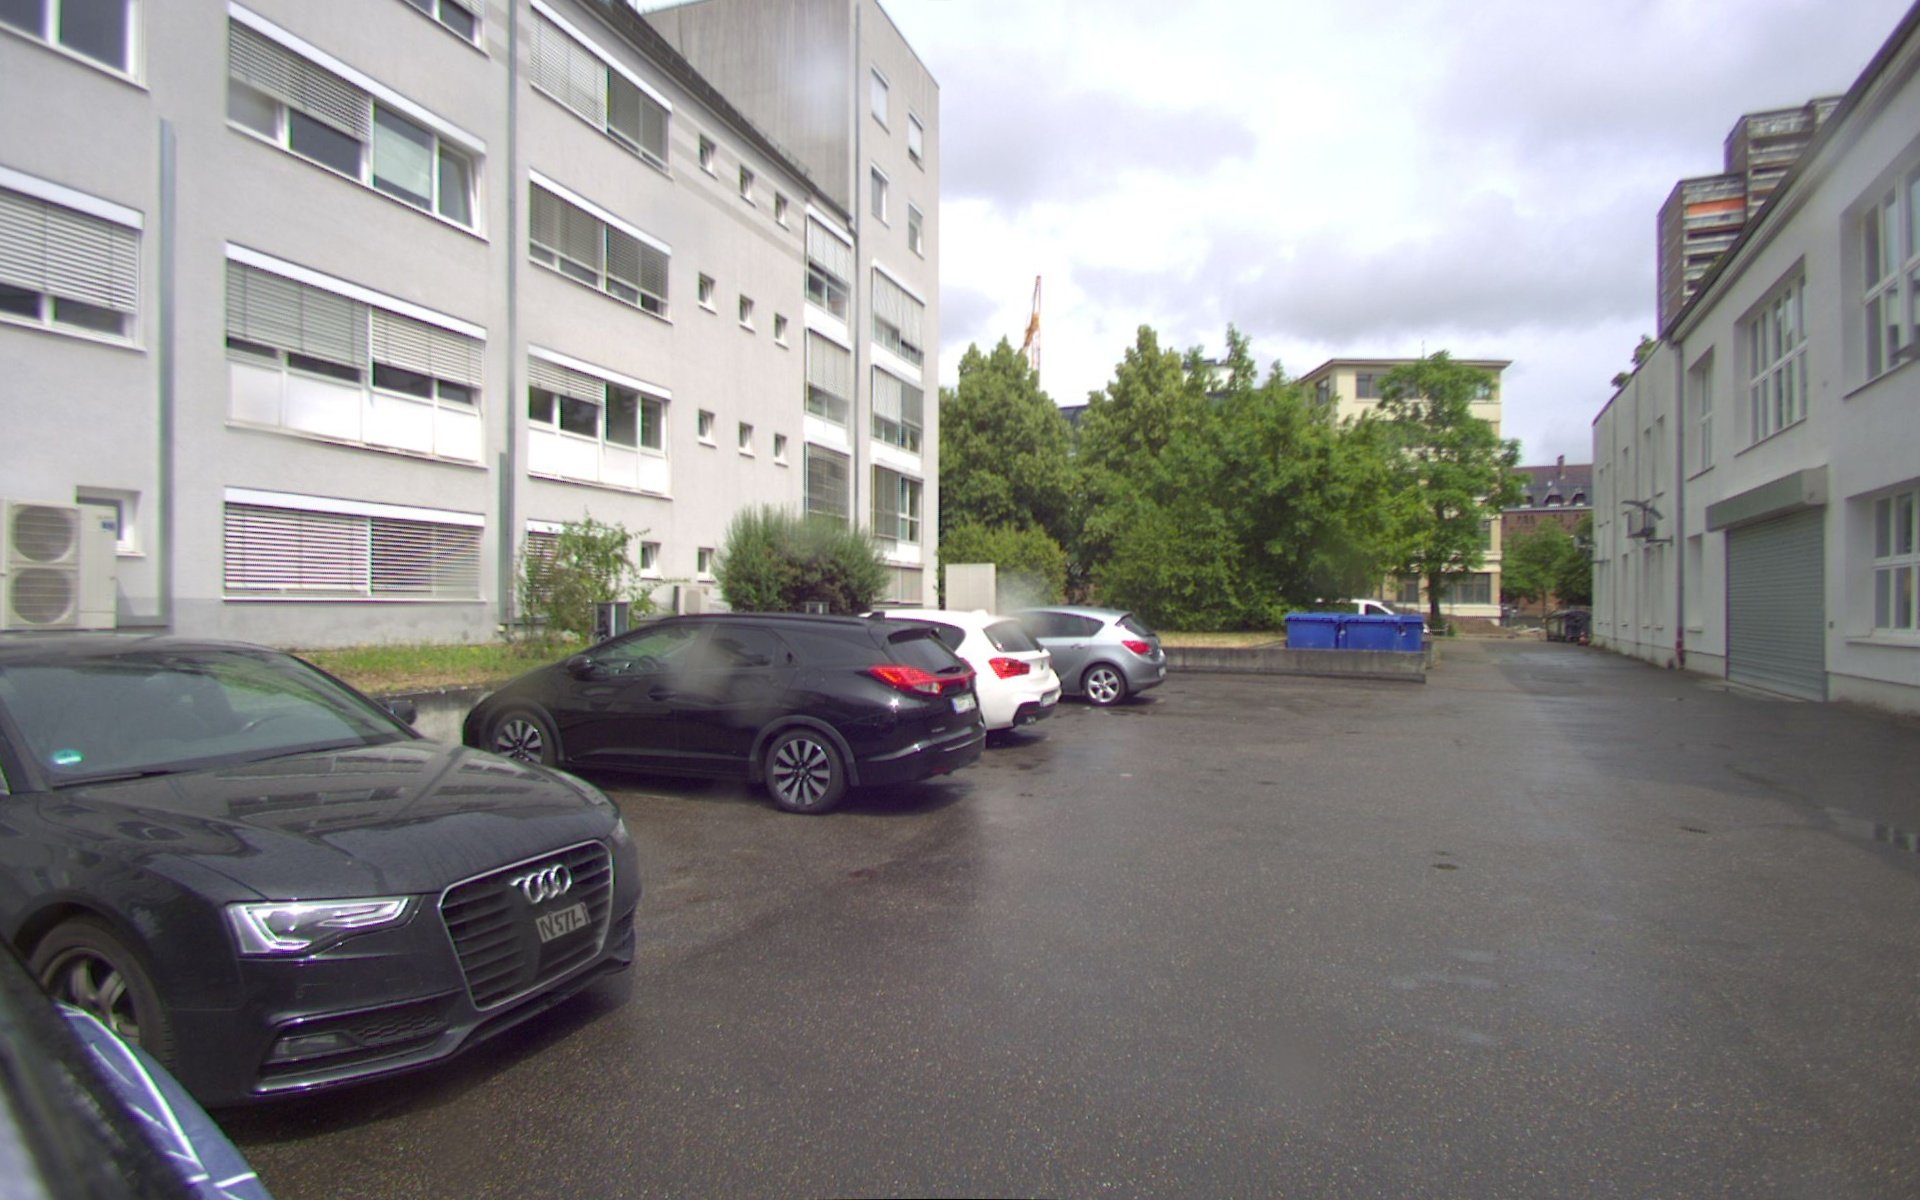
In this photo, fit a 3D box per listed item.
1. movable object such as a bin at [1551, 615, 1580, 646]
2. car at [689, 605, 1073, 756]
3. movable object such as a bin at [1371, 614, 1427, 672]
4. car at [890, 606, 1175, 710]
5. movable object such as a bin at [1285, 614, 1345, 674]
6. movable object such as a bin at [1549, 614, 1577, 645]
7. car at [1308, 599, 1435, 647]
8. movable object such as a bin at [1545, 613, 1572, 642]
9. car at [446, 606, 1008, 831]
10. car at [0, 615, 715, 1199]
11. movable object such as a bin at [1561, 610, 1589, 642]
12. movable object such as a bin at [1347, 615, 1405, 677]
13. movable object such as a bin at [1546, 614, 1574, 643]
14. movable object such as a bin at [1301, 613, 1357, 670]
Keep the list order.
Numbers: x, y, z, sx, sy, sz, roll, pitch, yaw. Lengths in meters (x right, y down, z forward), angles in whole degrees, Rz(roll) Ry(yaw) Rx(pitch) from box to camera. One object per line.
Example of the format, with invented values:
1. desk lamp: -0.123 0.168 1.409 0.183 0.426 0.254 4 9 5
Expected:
1. movable object such as a bin: 27.167 1.348 45.408 1.041 1.366 1.196 -1 -1 29
2. car: -0.897 0.808 11.625 4.096 1.453 1.684 1 0 21
3. movable object such as a bin: 10.634 1.021 24.511 1.126 1.338 1.196 -1 -1 29
4. car: 1.176 0.851 16.259 4.283 1.453 1.752 1 0 20
5. movable object such as a bin: 8.323 1.017 23.715 1.126 1.338 1.196 -1 -1 29
6. movable object such as a bin: 27.711 1.347 46.512 1.059 1.366 1.206 -1 -1 29
7. car: 15.793 0.880 38.906 4.318 1.740 1.704 -1 -1 31
8. movable object such as a bin: 29.027 1.346 49.125 1.062 1.366 1.252 -1 -1 29
9. car: -1.901 0.807 8.384 4.282 1.453 1.752 1 0 20
10. car: -3.372 0.787 3.977 4.496 1.362 1.751 1 0 21
11. movable object such as a bin: 26.514 1.111 43.651 0.974 1.366 0.910 -1 -1 29
12. movable object such as a bin: 9.509 1.028 23.107 1.090 1.335 1.196 -1 -1 29
13. movable object such as a bin: 28.388 1.347 47.925 1.062 1.366 1.252 -1 -1 29
14. movable object such as a bin: 9.169 1.014 25.146 1.126 1.338 1.196 -1 -1 29
